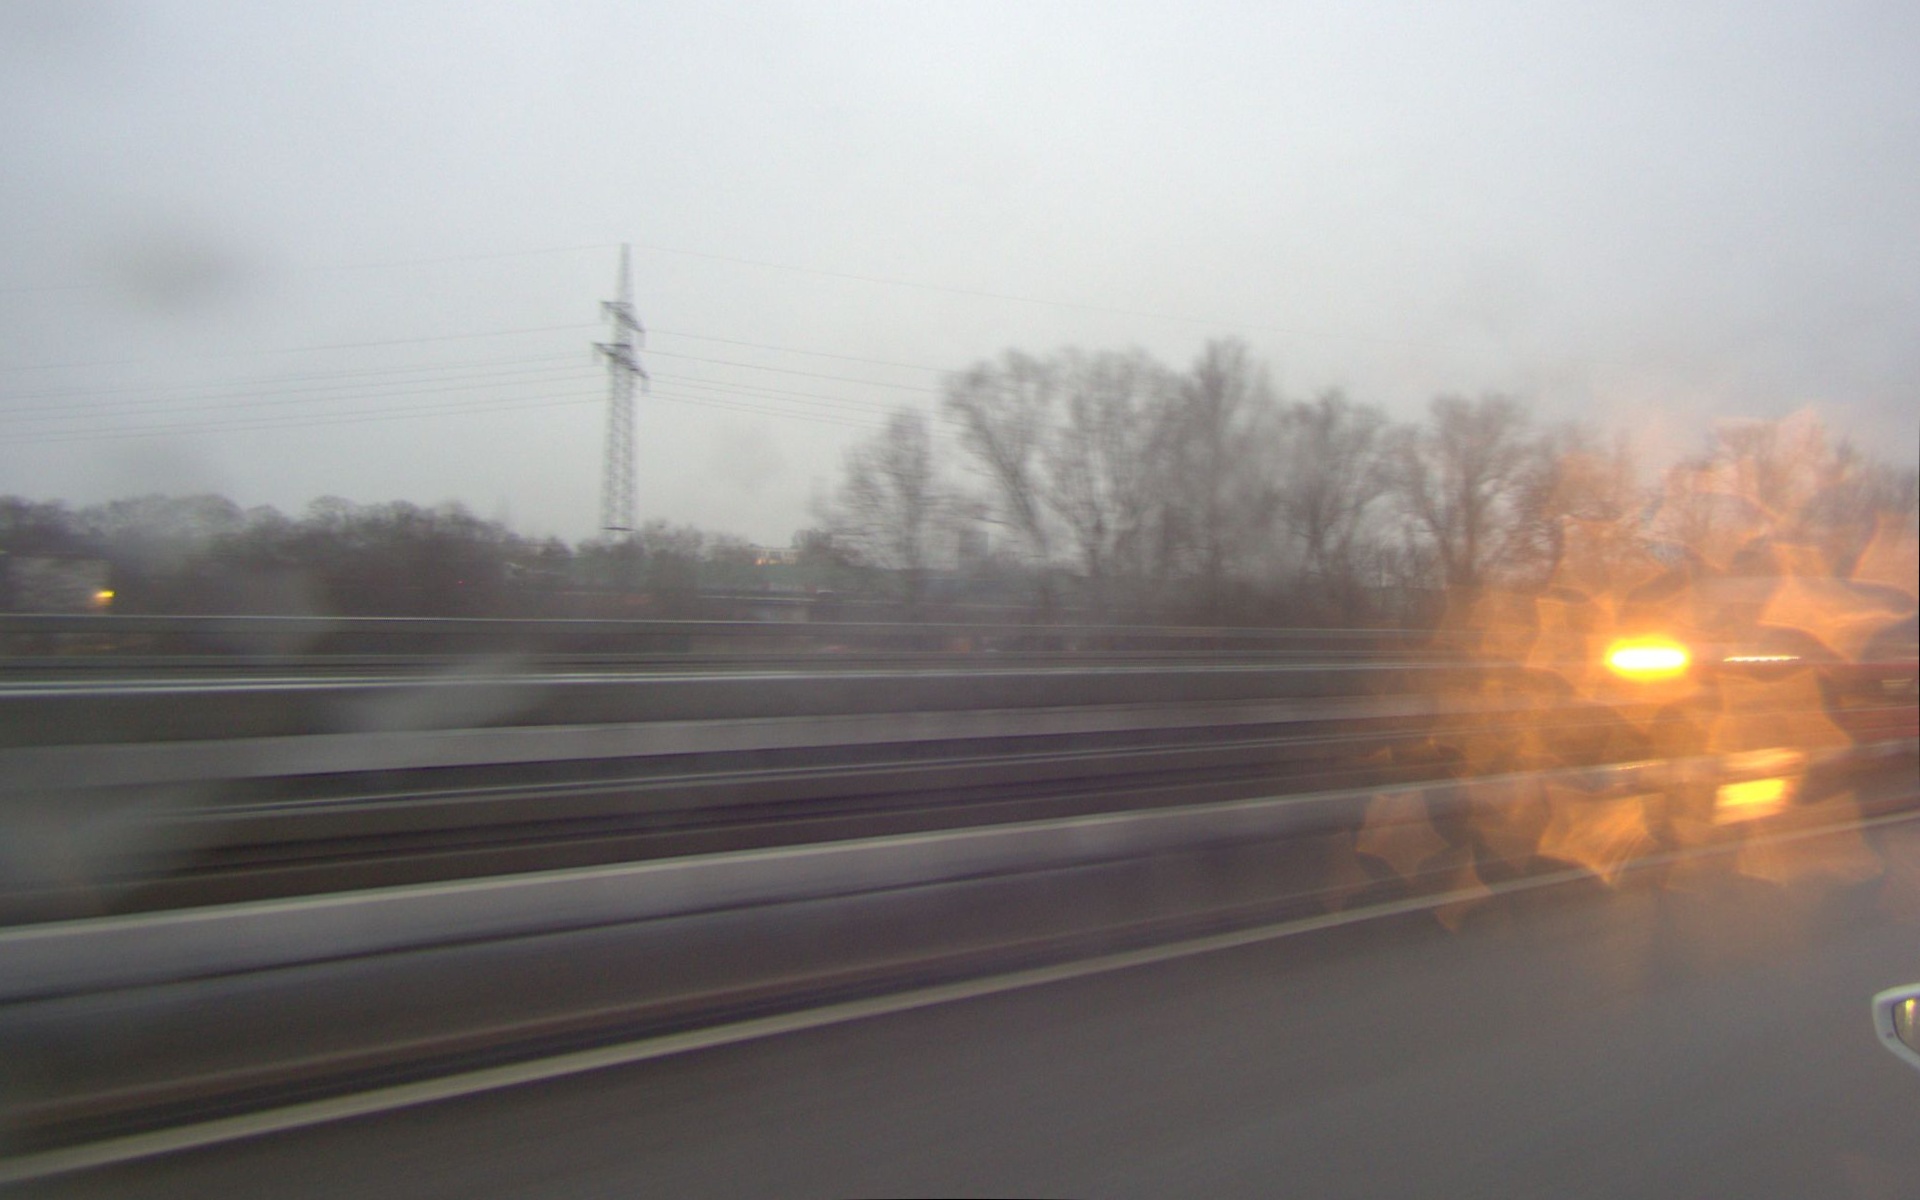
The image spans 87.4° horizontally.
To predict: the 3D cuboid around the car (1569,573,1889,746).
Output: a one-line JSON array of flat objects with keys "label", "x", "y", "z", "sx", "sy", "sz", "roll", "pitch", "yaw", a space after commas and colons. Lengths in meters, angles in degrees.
[{"label": "car", "x": 11.896, "y": 0.887, "z": 15.456, "sx": 5.145, "sy": 2.293, "sz": 2.040, "roll": 2, "pitch": -1, "yaw": -29}]
